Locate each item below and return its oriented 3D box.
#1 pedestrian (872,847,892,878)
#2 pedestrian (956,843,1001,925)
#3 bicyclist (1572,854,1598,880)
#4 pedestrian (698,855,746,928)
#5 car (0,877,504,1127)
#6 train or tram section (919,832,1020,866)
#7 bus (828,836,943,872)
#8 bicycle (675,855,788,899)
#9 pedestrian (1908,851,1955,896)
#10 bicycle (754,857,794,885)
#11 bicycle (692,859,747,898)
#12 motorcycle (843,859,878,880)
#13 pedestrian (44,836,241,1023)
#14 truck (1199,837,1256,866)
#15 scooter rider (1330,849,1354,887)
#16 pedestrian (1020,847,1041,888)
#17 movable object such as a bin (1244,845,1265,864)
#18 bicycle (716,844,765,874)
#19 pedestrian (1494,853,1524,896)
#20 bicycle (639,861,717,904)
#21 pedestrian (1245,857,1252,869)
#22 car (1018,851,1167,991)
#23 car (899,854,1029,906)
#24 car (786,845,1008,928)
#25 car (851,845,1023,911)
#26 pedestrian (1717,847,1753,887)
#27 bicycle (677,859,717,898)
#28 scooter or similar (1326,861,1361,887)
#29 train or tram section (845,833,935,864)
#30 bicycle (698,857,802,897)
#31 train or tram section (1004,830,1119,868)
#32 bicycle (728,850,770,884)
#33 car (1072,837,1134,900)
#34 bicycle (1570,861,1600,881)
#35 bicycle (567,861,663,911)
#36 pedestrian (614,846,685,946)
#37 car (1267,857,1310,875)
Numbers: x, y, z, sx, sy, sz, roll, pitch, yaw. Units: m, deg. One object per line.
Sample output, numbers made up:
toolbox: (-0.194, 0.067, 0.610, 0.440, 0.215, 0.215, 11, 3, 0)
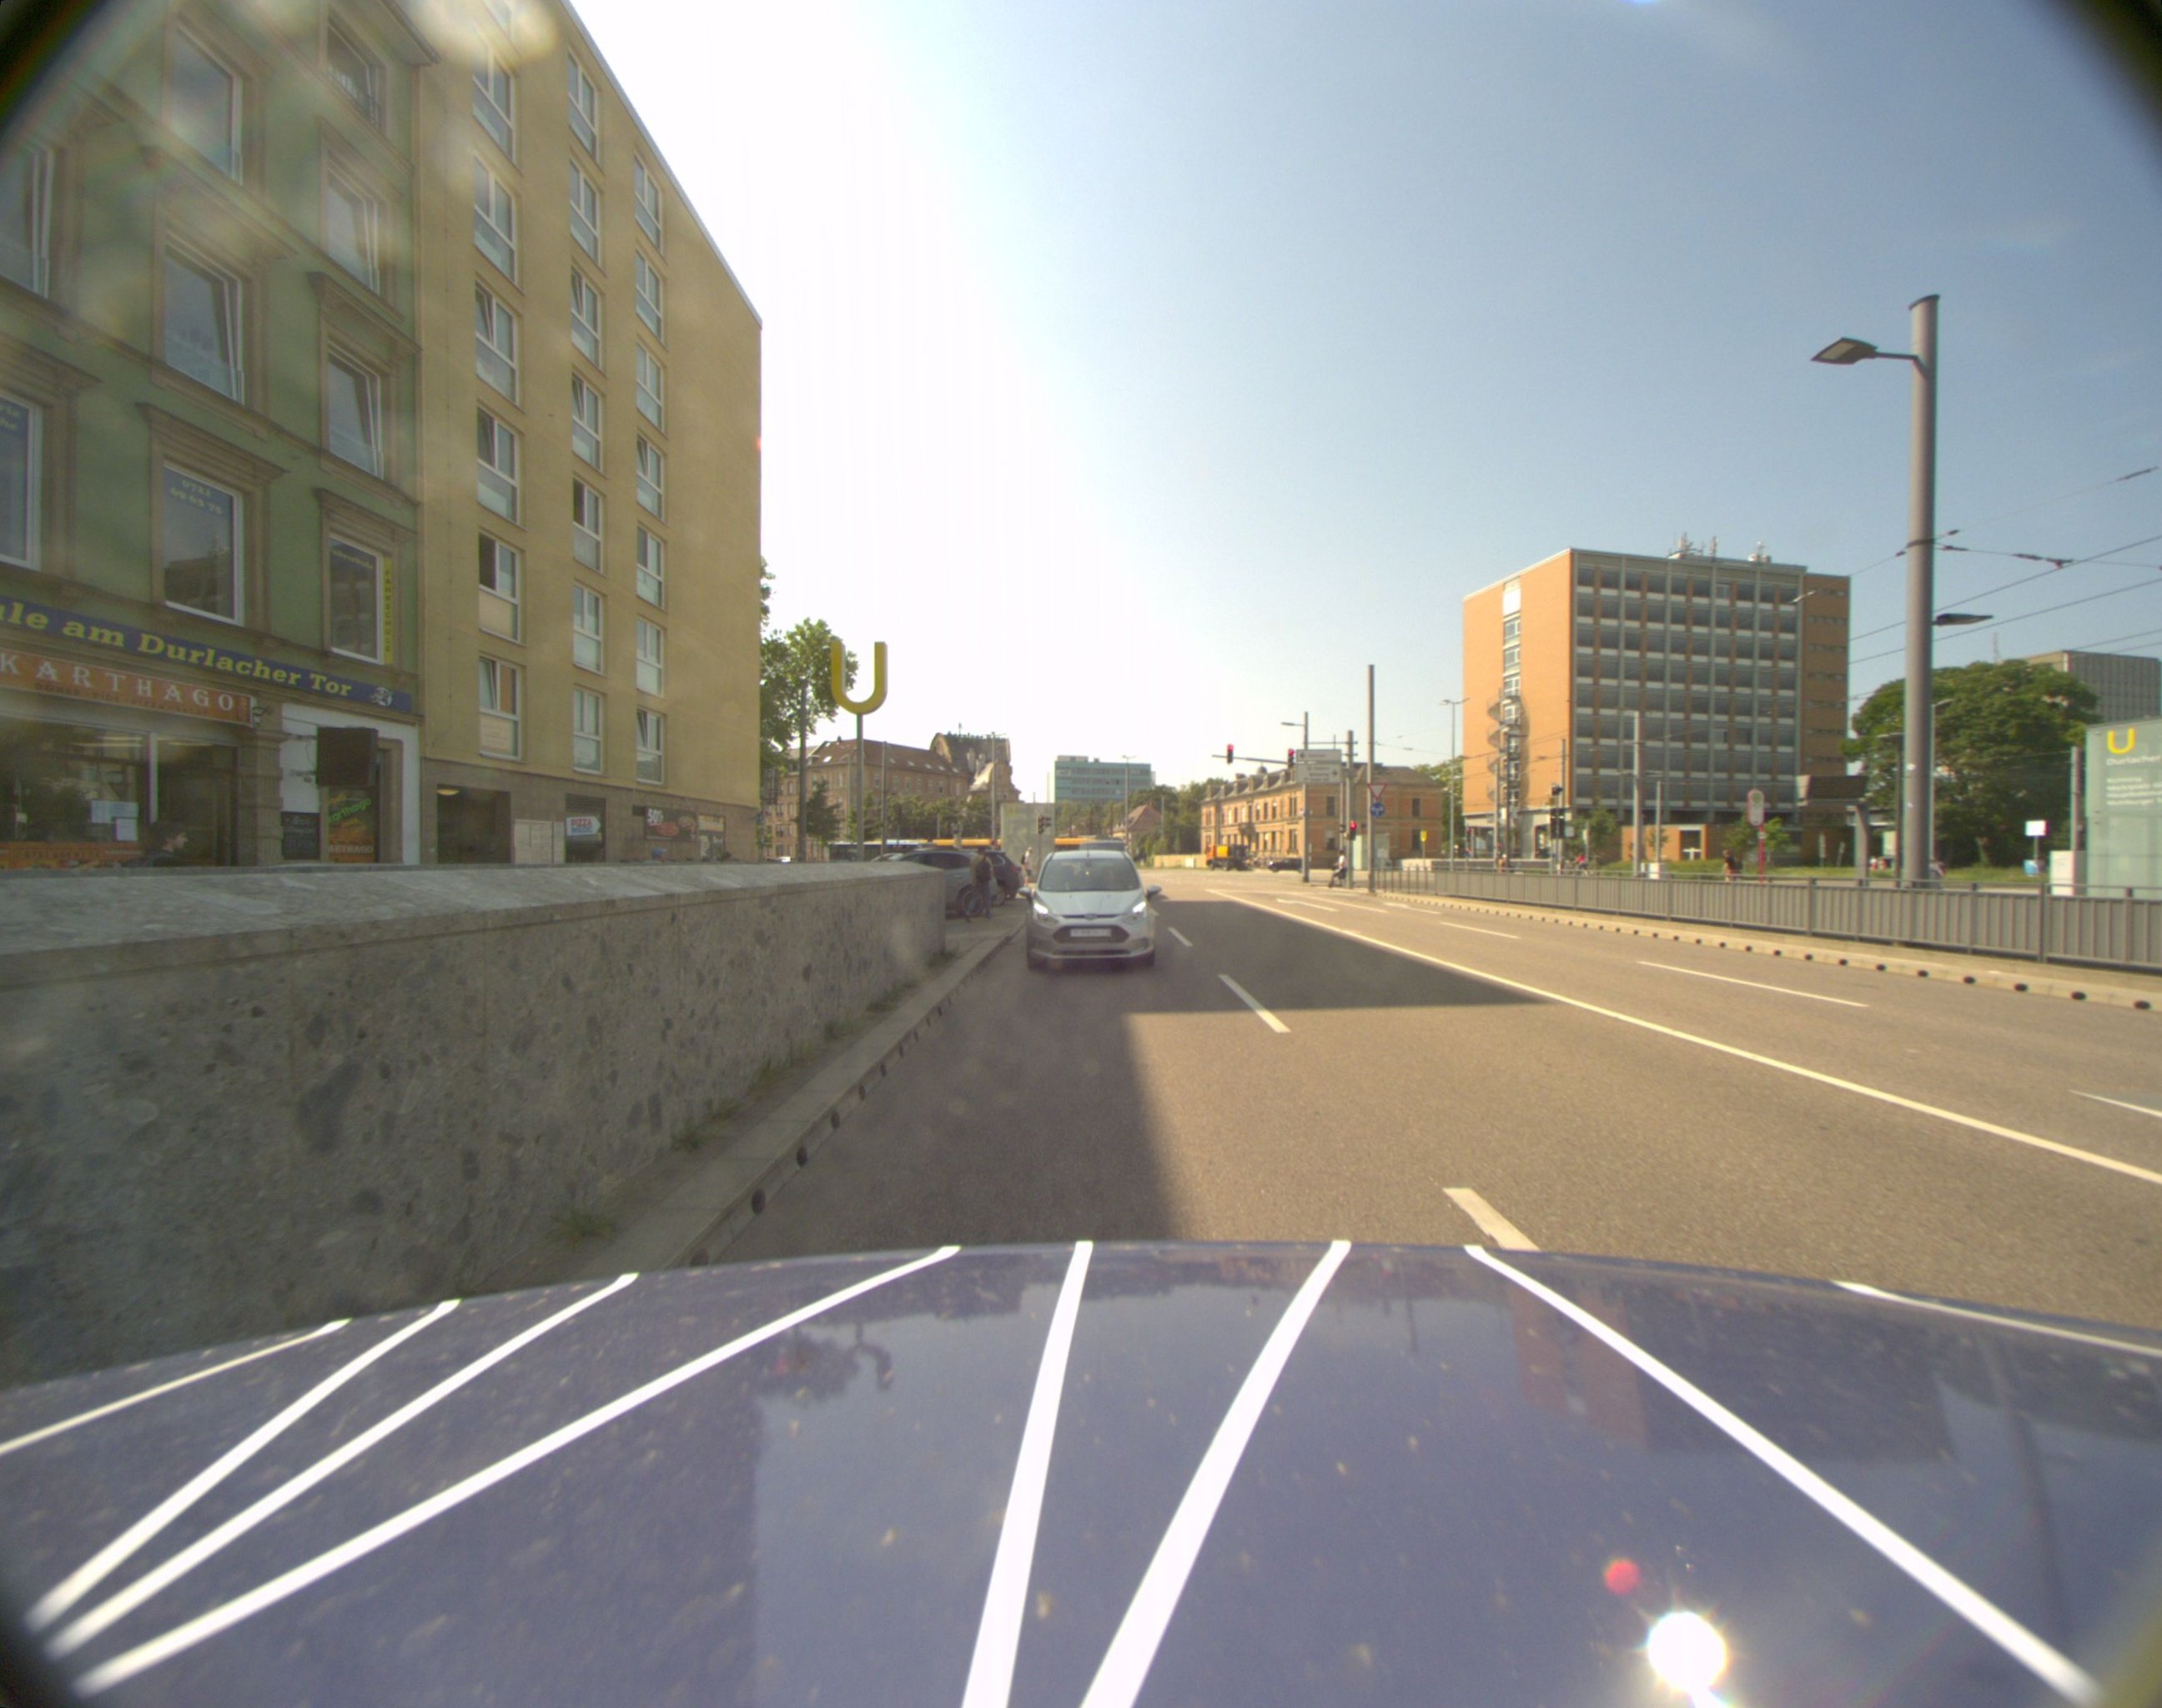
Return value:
pedestrian: (-10.337, 0.427, 39.514, 0.793, 1.600, 0.949, 1, 1, -2)
pedestrian: (-2.279, 0.667, 17.010, 0.868, 1.741, 0.872, -3, -1, -5)
bicyclist: (29.372, 0.746, 44.263, 0.877, 1.451, 0.980, 0, 1, 4)
pedestrian: (-8.123, 0.821, 17.180, 0.854, 1.573, 0.968, -1, 1, -33)
car: (-7.049, 0.940, 6.366, 1.635, 1.432, 3.620, 0, -1, 1)
train or tram section: (-12.351, -0.575, 82.857, 12.182, 3.540, 2.601, 0, 0, 33)
bus: (-18.081, 0.023, 69.706, 12.047, 3.046, 2.740, 0, 0, 33)
bicycle: (-11.740, 0.740, 25.613, 3.370, 1.396, 0.901, 0, 0, -35)
pedestrian: (34.318, 0.791, 30.666, 0.785, 1.770, 0.959, 0, 2, 3)
bicycle: (-13.828, 0.741, 34.306, 0.794, 1.231, 2.435, 0, 0, 1)
bicycle: (-11.968, 0.789, 25.169, 0.590, 1.231, 1.548, 0, 0, 33)
motorcycle: (-12.078, 0.825, 41.688, 0.911, 1.130, 2.114, 0, 0, 13)
pedestrian: (-8.550, 0.627, 6.991, 0.854, 1.573, 0.968, -1, 1, -33)
truck: (17.126, -0.199, 89.148, 3.046, 3.209, 7.178, 1, -2, -23)
scooter rider: (11.652, 0.618, 33.922, 0.773, 1.663, 0.779, 0, 1, 1)
pedestrian: (-2.278, 0.589, 34.156, 0.821, 1.797, 0.814, -1, 1, 1)
movable object such as a bin: (23.762, 0.061, 104.381, 1.817, 2.656, 4.455, 0, 0, 0)
bicycle: (-13.836, 0.213, 30.922, 1.727, 1.199, 0.589, 0, 1, -6)
pedestrian: (16.753, 0.795, 29.745, 0.574, 1.649, 0.800, 0, -2, -17)
bicycle: (-12.169, 0.832, 23.046, 0.941, 1.231, 2.423, 0, 0, 4)
pedestrian: (20.301, 1.094, 92.103, 0.815, 1.343, 0.720, 0, 0, 8)
car: (0.202, 0.750, 10.833, 1.691, 1.585, 4.361, 0, 0, 2)
car: (-3.791, 0.822, 24.897, 3.792, 1.491, 1.802, -2, 0, -40)
car: (-4.242, 0.670, 17.945, 4.675, 1.704, 2.038, 0, 1, -41)
car: (-4.032, 0.613, 21.629, 4.401, 1.678, 1.981, 0, 1, -41)
pedestrian: (29.831, 0.592, 34.668, 0.785, 1.770, 0.959, 0, 2, 3)
bicycle: (-12.643, 0.777, 25.060, 0.409, 1.231, 1.827, 0, 0, -2)
scooter or similar: (11.717, 0.895, 33.944, 1.341, 1.142, 0.709, 0, 1, 0)
train or tram section: (-22.622, -0.633, 89.479, 12.182, 3.540, 2.601, 0, 0, 33)
bicycle: (-12.033, 0.803, 27.715, 3.370, 1.396, 0.901, 0, 0, -35)
train or tram section: (-2.160, -0.507, 76.277, 12.182, 3.540, 2.601, 0, 0, 33)
bicycle: (-12.420, 0.464, 28.469, 0.729, 1.239, 1.960, 0, 0, 0)
car: (0.782, 0.449, 25.739, 1.899, 1.919, 4.886, 0, 0, 2)
bicycle: (29.402, 0.977, 44.373, 0.614, 1.063, 1.913, 0, 0, 4)
bicycle: (-12.280, 0.810, 20.158, 0.941, 1.231, 2.423, 0, 0, 4)
pedestrian: (-7.483, 0.700, 13.207, 0.672, 1.675, 0.943, 1, 1, 1)
car: (21.139, 1.221, 77.349, 3.991, 1.783, 2.004, -1, -2, 20)
